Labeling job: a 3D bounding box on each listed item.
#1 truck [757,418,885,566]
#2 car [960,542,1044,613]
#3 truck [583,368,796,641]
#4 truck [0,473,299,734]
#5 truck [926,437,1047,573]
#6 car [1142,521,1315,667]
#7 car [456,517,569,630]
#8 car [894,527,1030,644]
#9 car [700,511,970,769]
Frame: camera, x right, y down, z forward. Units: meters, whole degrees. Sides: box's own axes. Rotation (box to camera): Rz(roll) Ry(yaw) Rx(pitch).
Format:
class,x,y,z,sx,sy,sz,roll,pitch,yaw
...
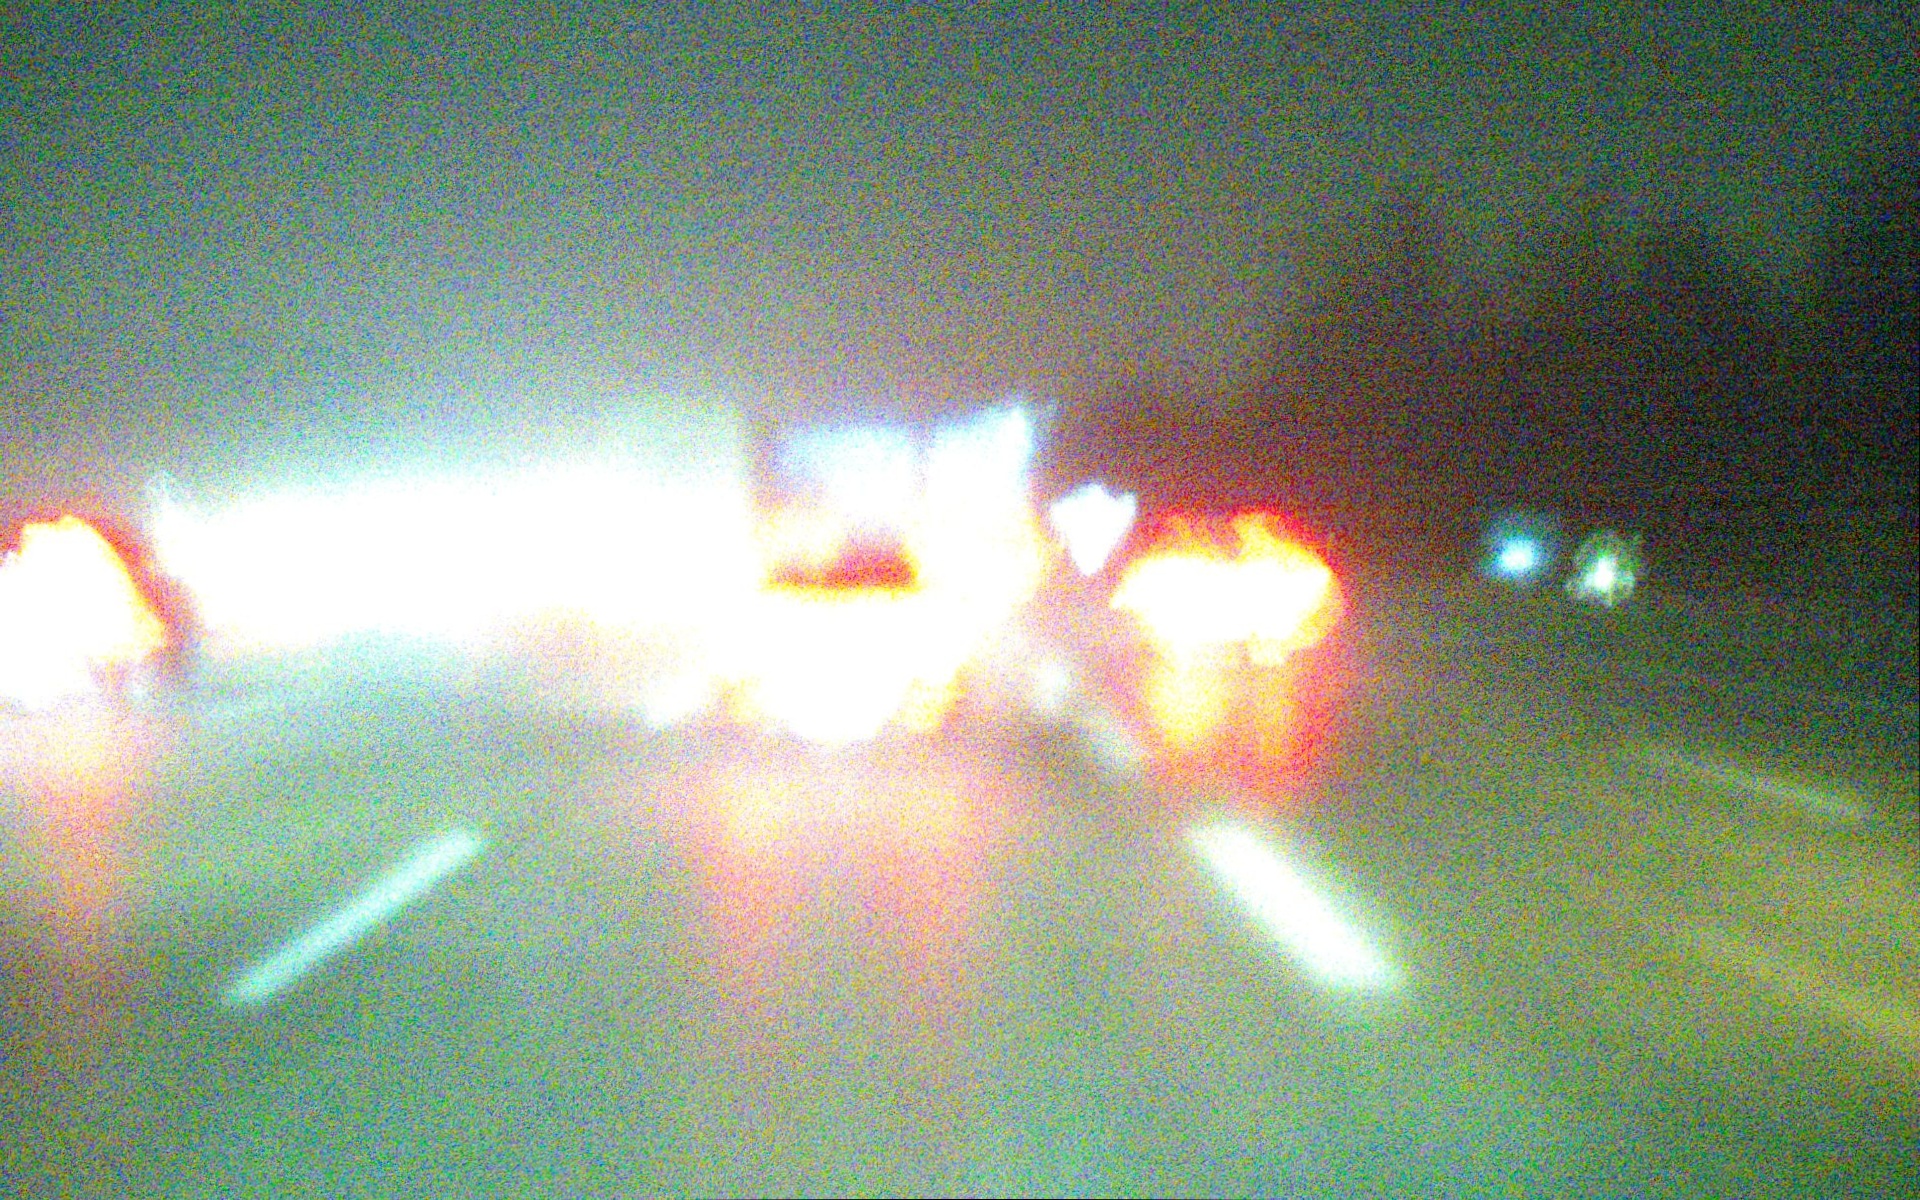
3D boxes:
class,x,y,z,sx,sy,sz,roll,pitch,yaw
truck,-5.255,-4.034,132.545,4.254,5.425,10.884,1,1,1
car,1.038,-0.571,86.291,1.993,1.698,4.458,1,1,0
truck,-5.138,-1.719,65.035,3.655,4.721,9.854,1,1,-5
truck,-7.997,-0.005,31.992,2.857,2.193,5.859,1,1,-3
truck,0.968,-3.734,137.701,4.161,5.197,9.955,1,1,-3
car,3.389,-0.097,44.019,1.878,1.756,4.000,1,1,0
car,-9.436,-0.567,72.638,2.263,2.265,5.387,1,1,-7
car,-0.003,-0.239,54.513,2.038,1.755,4.516,1,1,-1
car,-0.818,0.213,24.501,1.765,1.683,4.000,0,1,0
